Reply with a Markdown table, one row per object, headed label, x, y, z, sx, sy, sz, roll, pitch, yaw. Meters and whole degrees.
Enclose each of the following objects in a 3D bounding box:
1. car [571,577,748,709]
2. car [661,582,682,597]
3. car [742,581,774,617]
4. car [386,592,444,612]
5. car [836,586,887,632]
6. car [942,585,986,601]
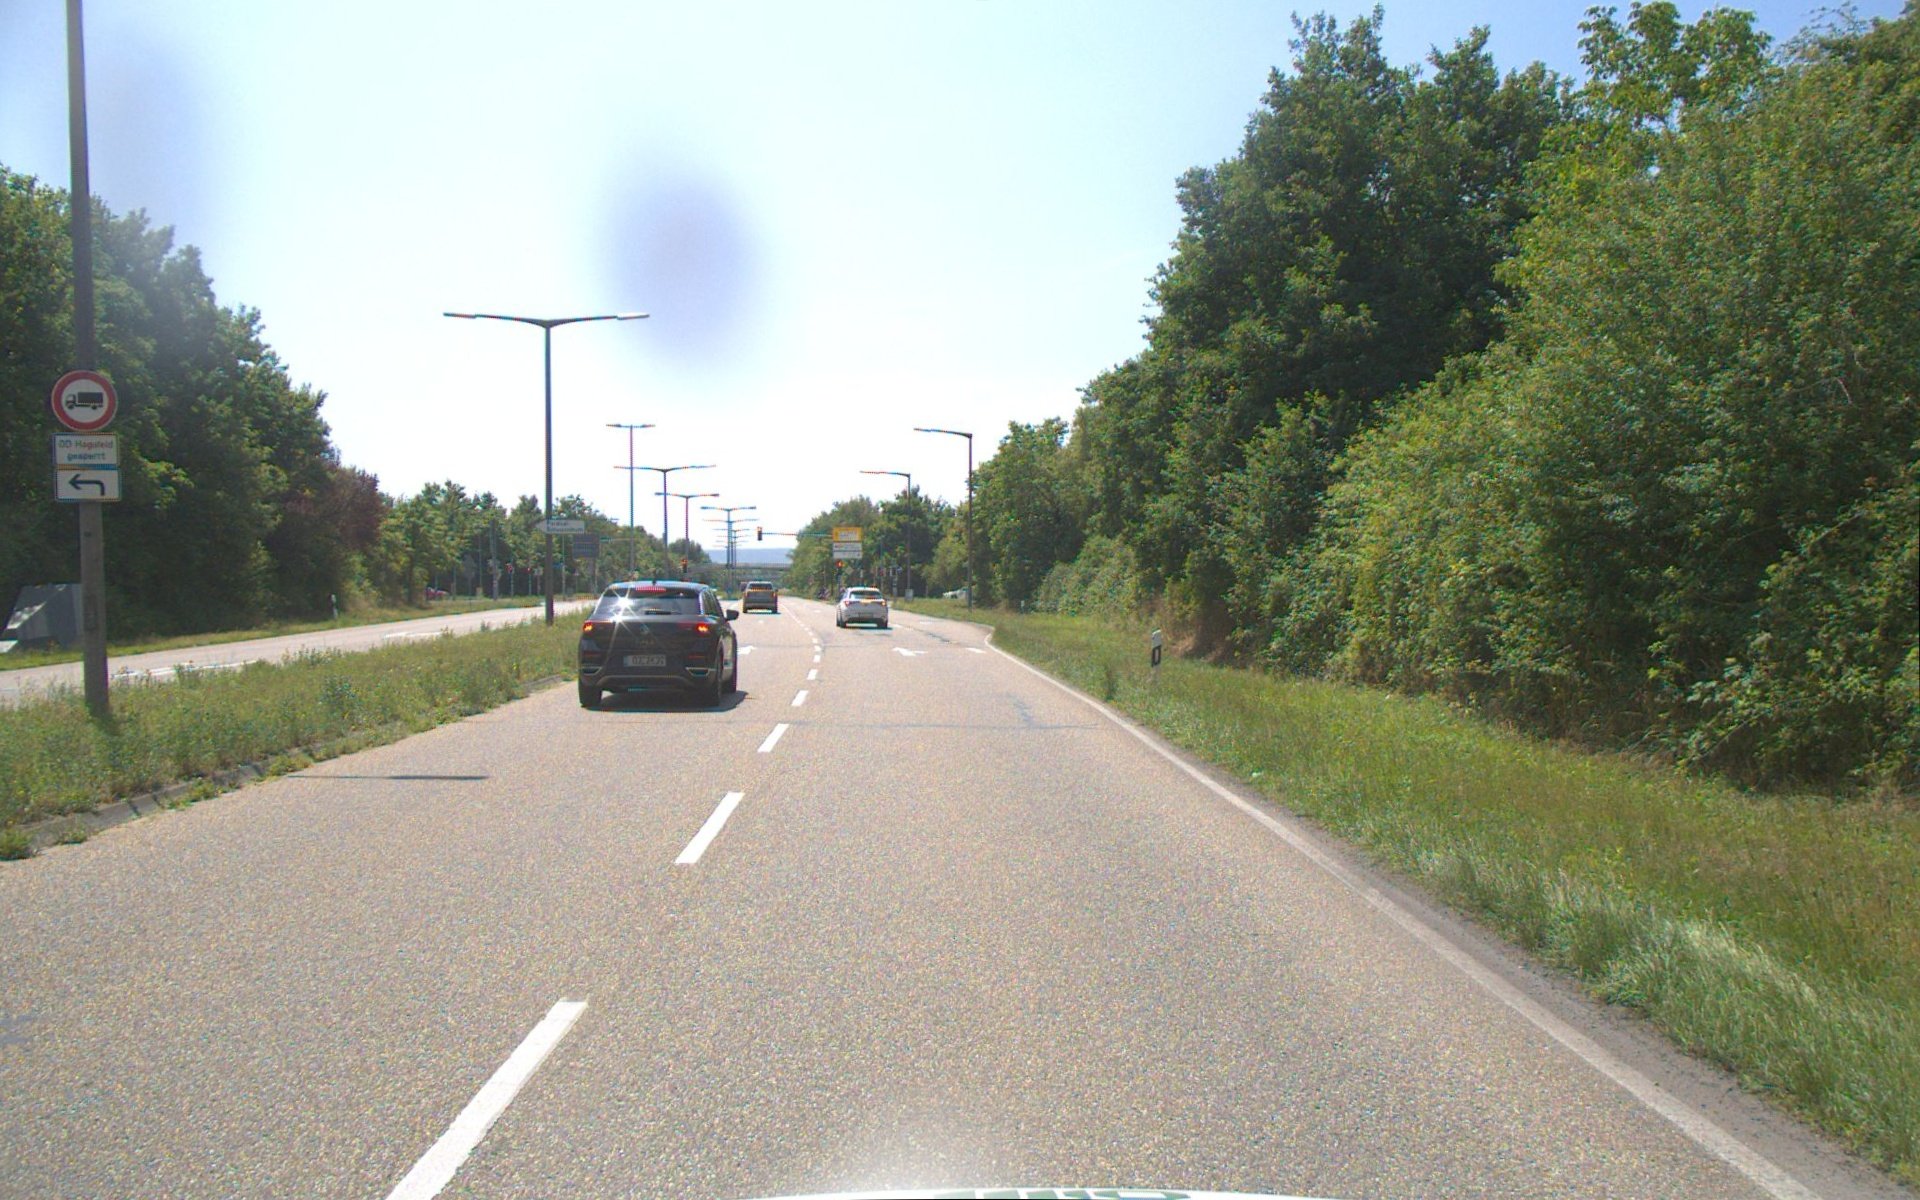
| label | x | y | z | sx | sy | sz | roll | pitch | yaw |
| --- | --- | --- | --- | --- | --- | --- | --- | --- | --- |
| car | -3.872 | 0.517 | 21.904 | 1.720 | 1.583 | 3.999 | 0 | 0 | -2 |
| car | -30.461 | -1.106 | 174.479 | 1.792 | 1.545 | 3.996 | 0 | 0 | -4 |
| car | -11.051 | -0.050 | 90.596 | 1.722 | 1.962 | 3.994 | 0 | 0 | -7 |
| car | -46.019 | 0.196 | 139.749 | 4.448 | 1.669 | 1.970 | 0 | 0 | -15 |
| car | -3.595 | 0.302 | 60.540 | 1.761 | 1.611 | 3.997 | -1 | 0 | -3 |
| car | 0.373 | -0.662 | 165.387 | 4.033 | 1.552 | 1.930 | 0 | 0 | -15 |
